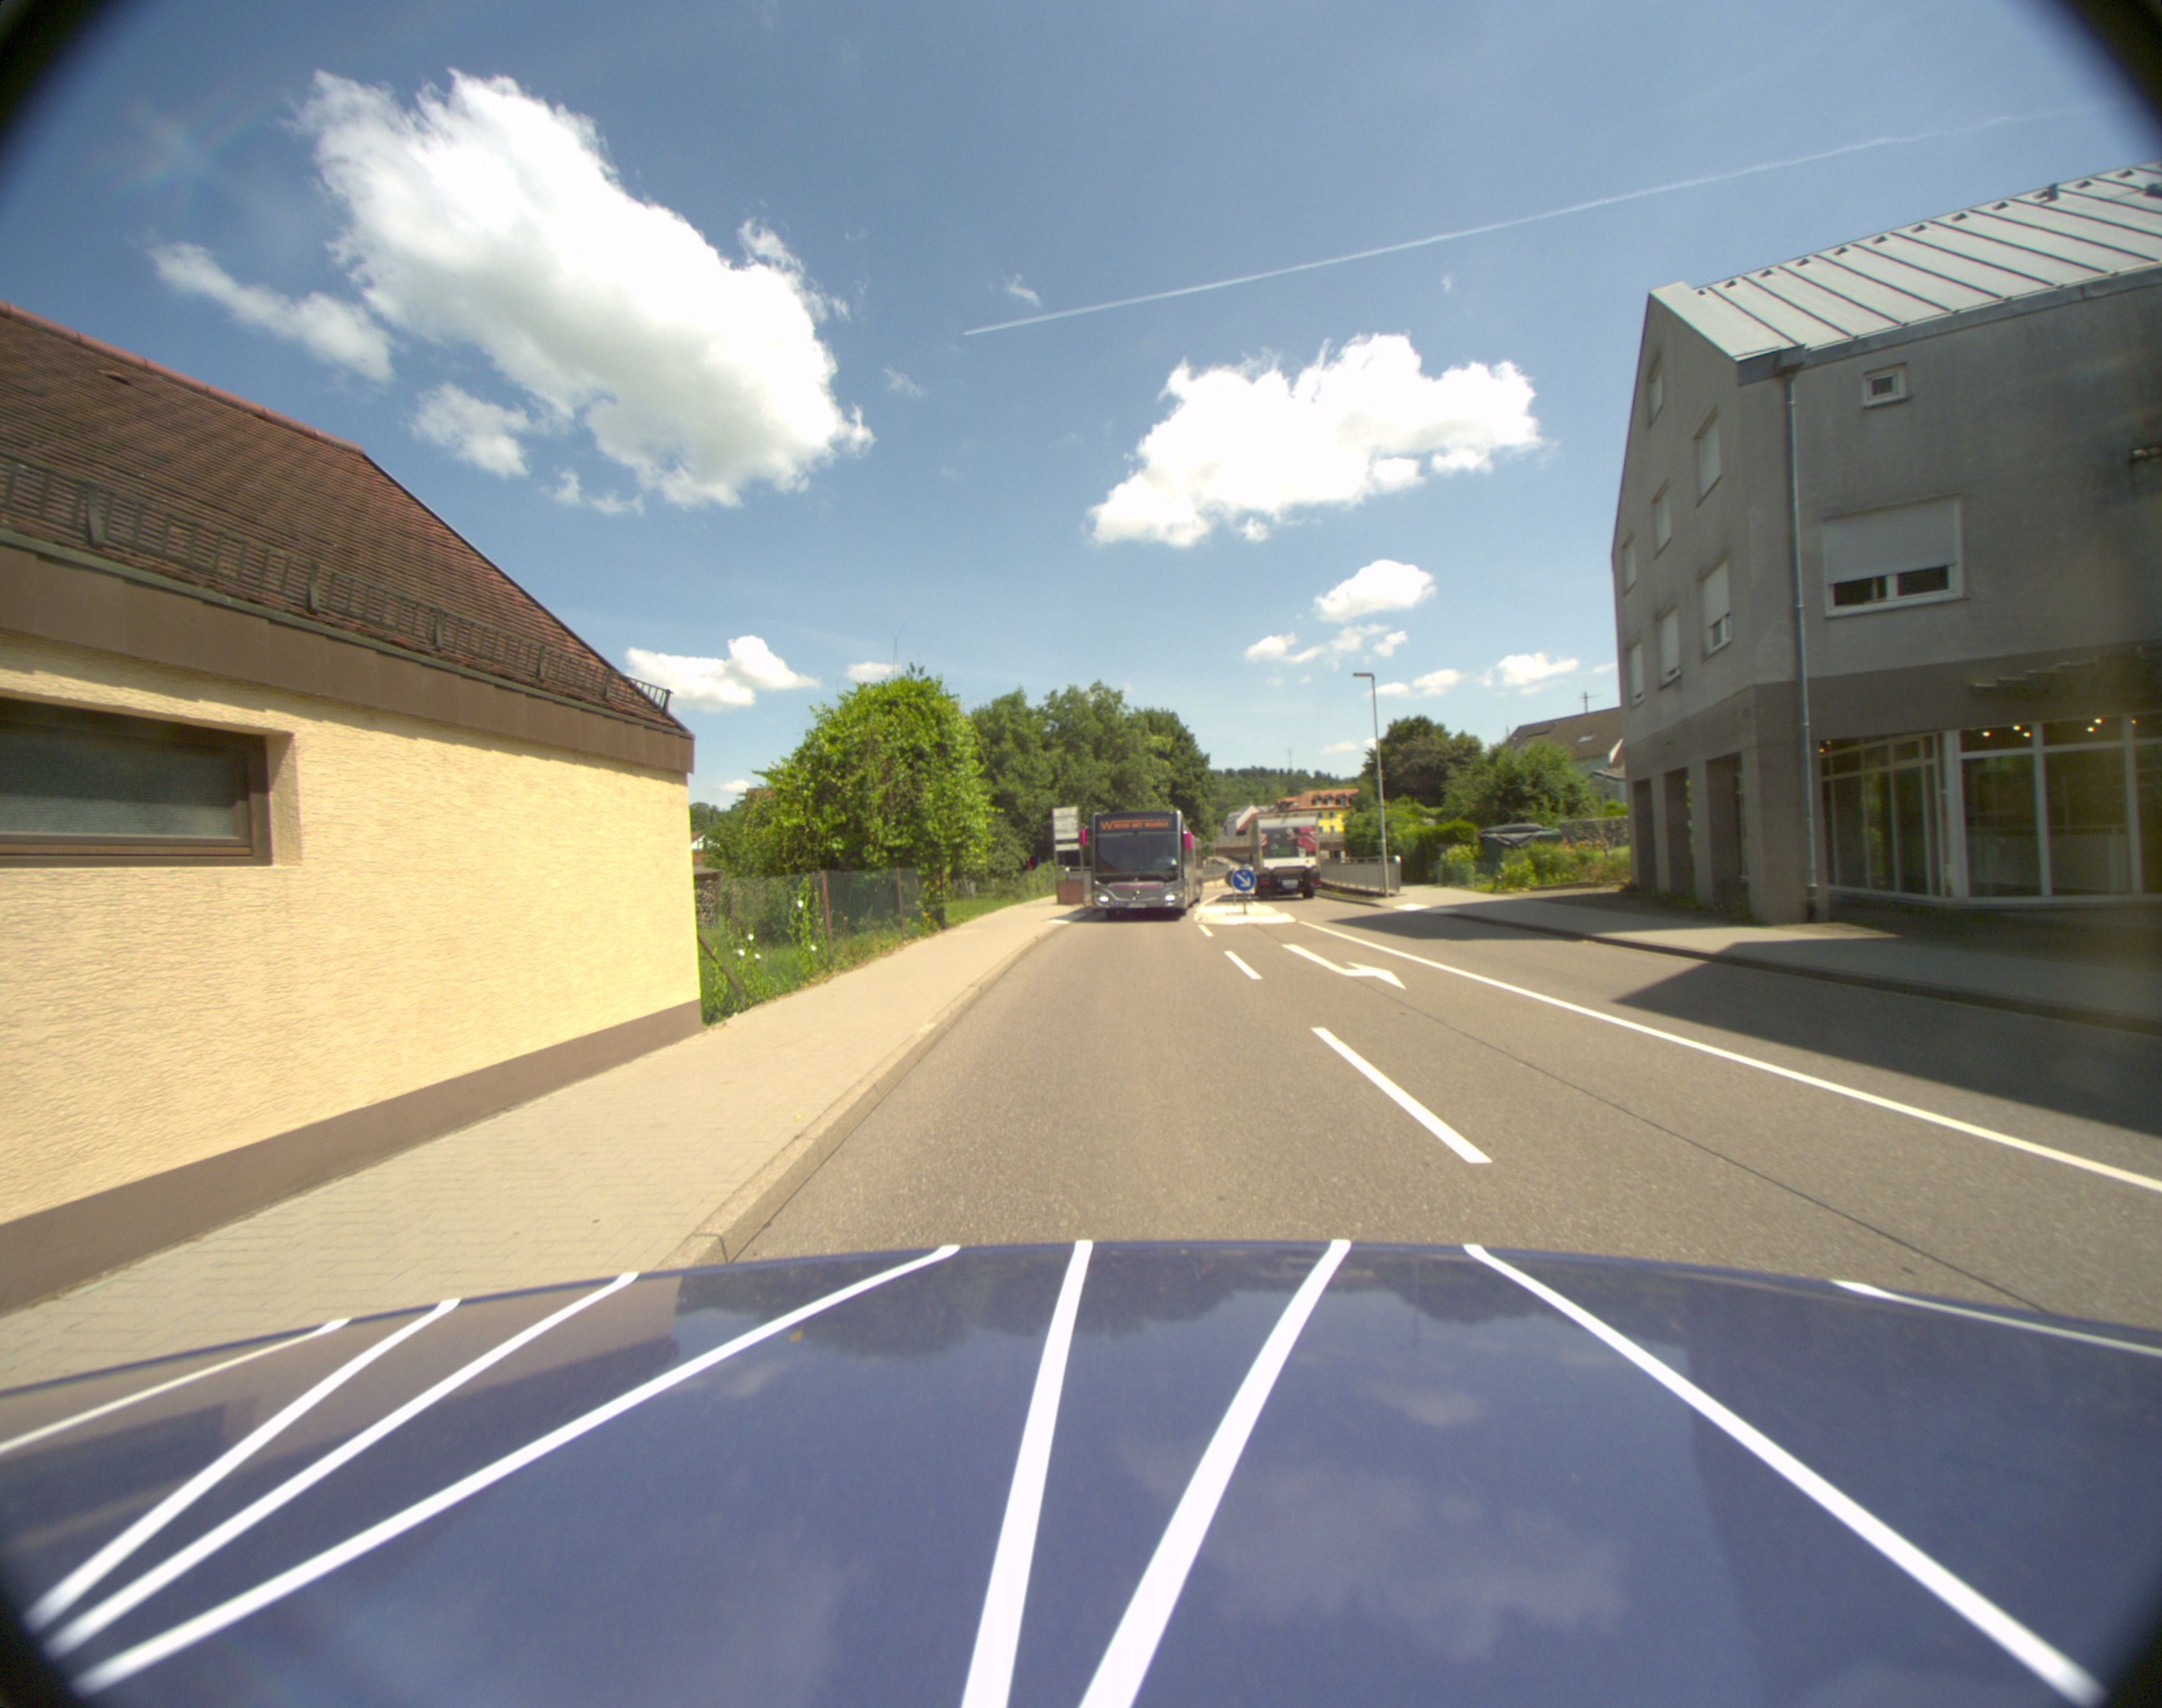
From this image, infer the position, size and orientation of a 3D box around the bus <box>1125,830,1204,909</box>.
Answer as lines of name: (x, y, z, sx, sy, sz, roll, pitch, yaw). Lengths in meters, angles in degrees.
bus: (3.952, 0.728, 33.782, 2.753, 2.949, 9.290, -2, -2, 10)

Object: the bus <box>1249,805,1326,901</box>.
bus: (10.026, 0.114, 37.923, 2.815, 3.977, 10.979, -3, -2, 11)

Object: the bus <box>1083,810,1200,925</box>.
bus: (2.284, 0.483, 24.596, 2.753, 2.949, 9.290, -2, -2, 10)
